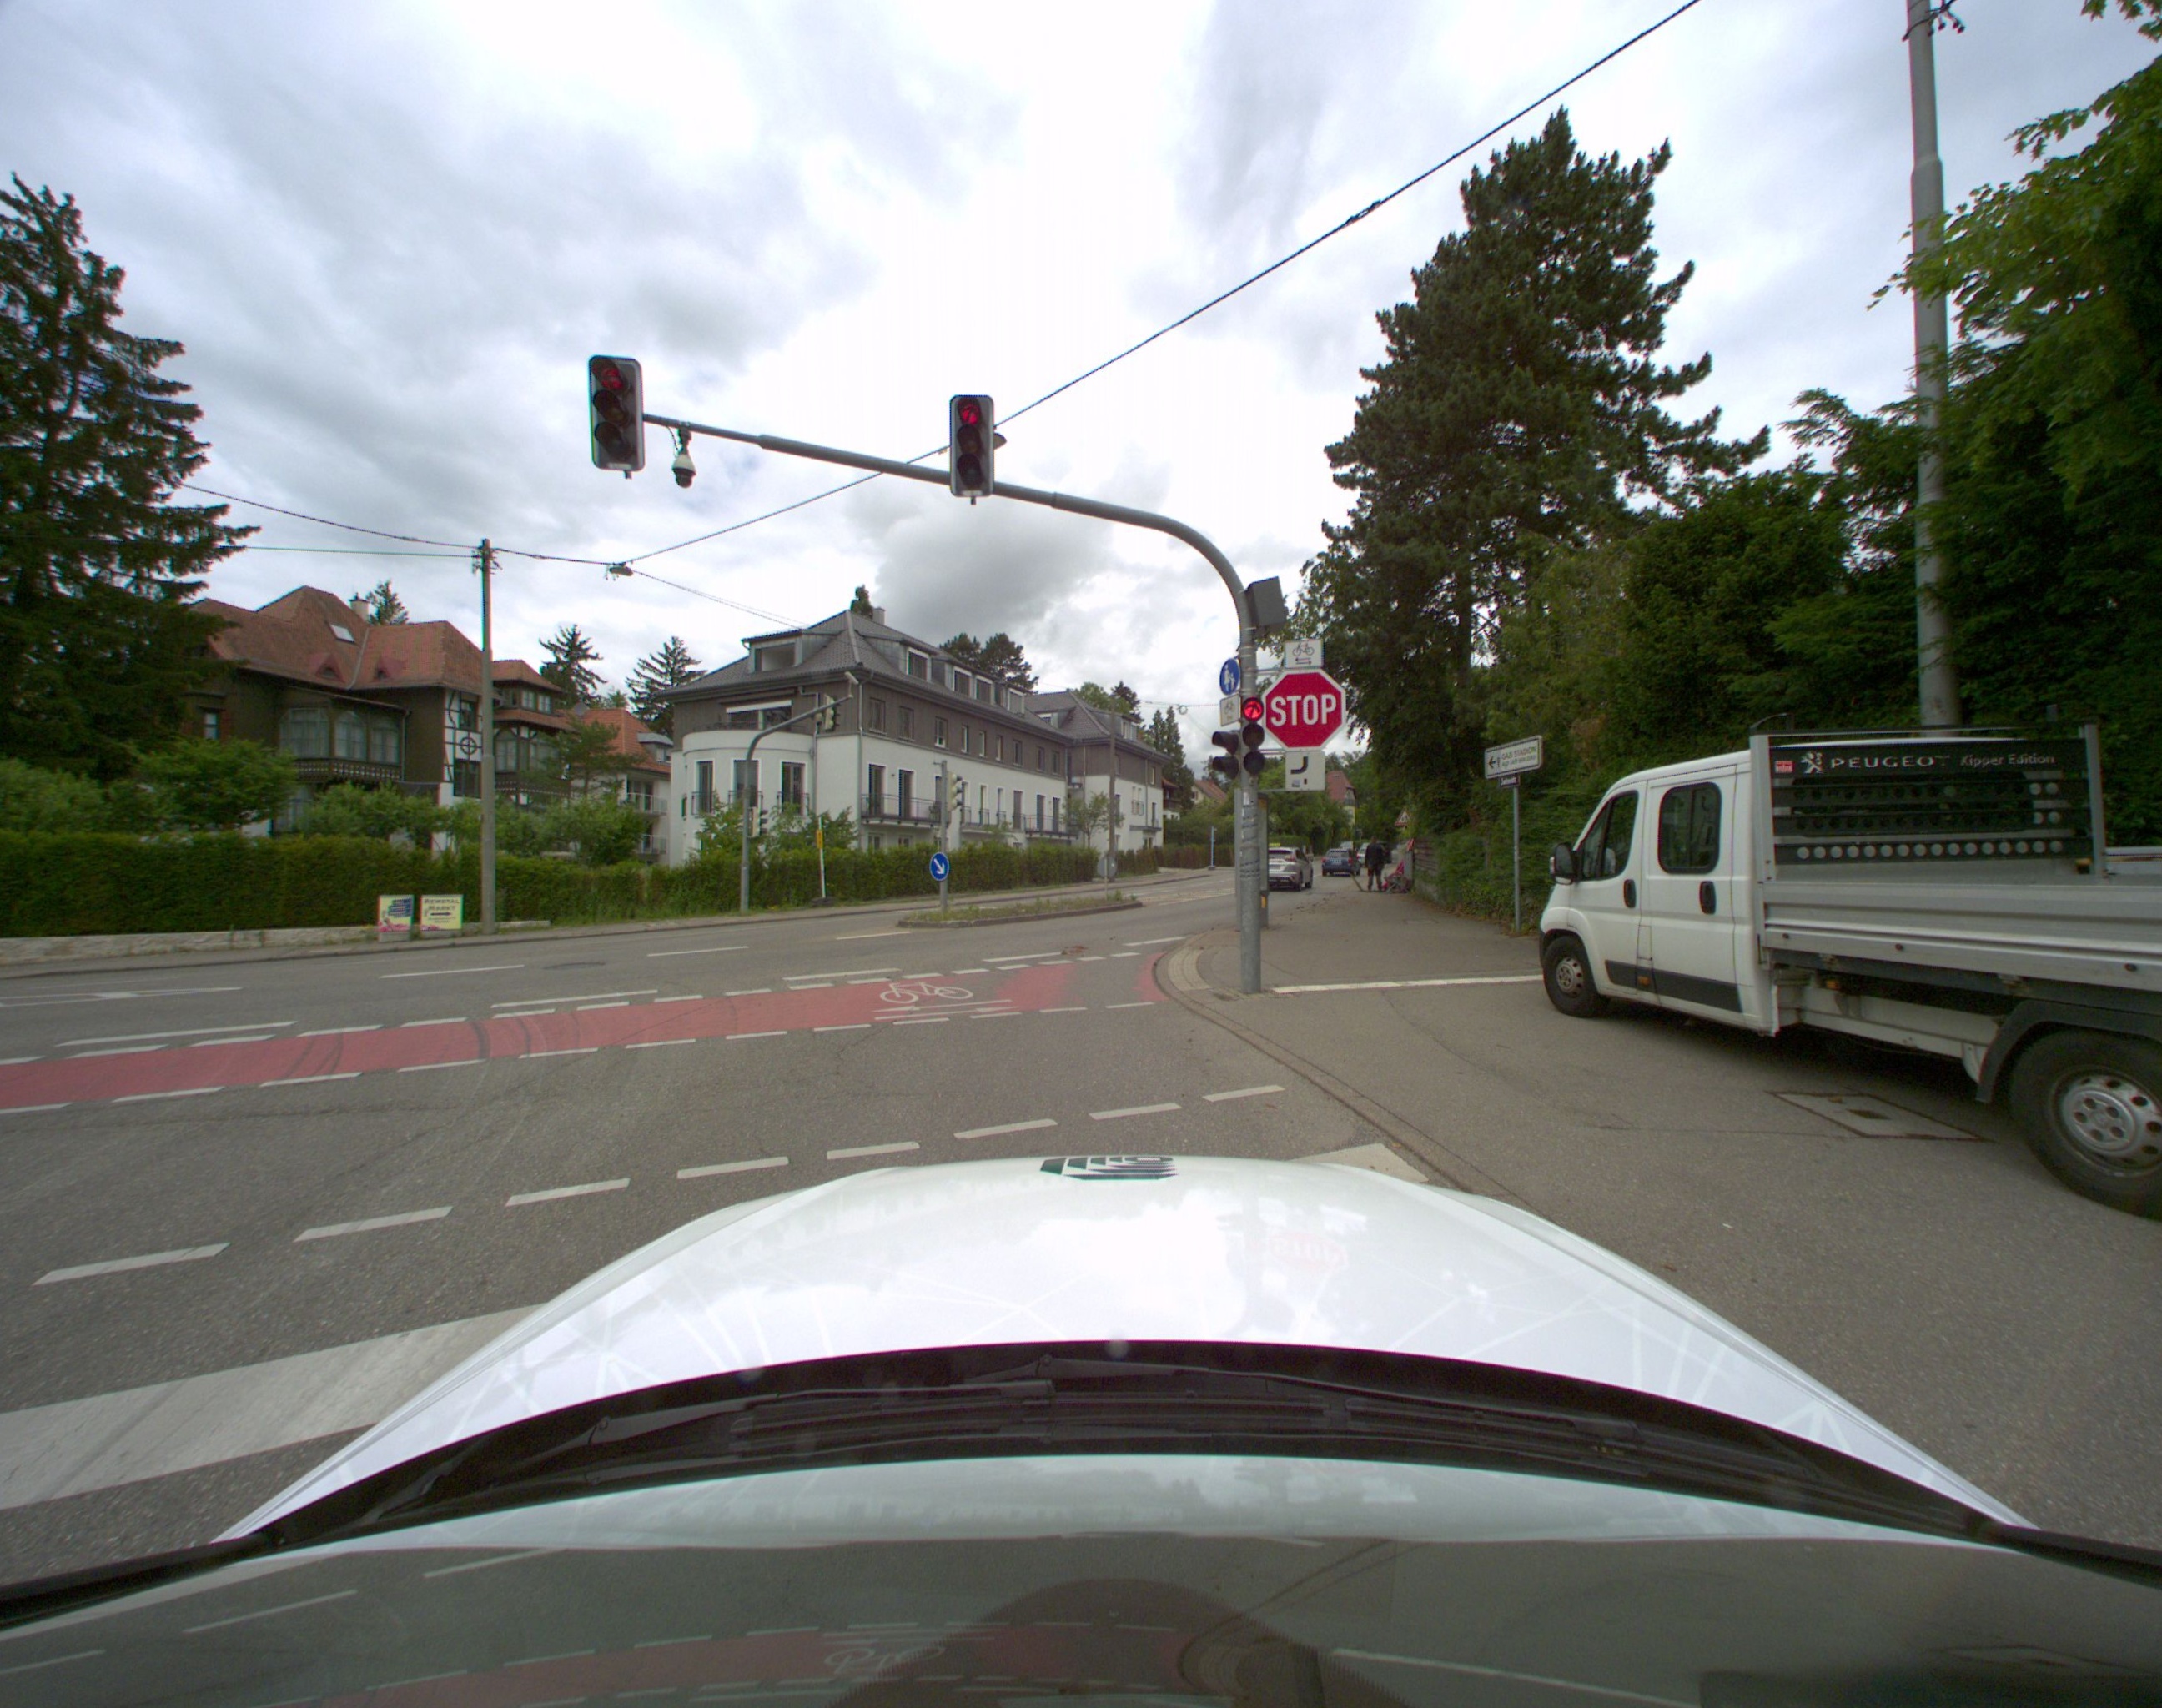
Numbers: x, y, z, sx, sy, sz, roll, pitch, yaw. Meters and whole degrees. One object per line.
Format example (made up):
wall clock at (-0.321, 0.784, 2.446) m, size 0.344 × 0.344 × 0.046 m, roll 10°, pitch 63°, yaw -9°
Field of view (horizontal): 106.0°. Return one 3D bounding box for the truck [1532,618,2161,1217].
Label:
truck at (5.271, 0.236, 4.952) m, size 2.198 × 2.243 × 5.729 m, roll 0°, pitch 0°, yaw 4°

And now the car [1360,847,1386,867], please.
car at (21.703, 0.196, 60.464) m, size 1.679 × 1.430 × 3.768 m, roll -2°, pitch 0°, yaw 21°

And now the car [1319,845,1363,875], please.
car at (14.555, 0.307, 45.381) m, size 1.783 × 1.527 × 4.770 m, roll -2°, pitch 0°, yaw 24°

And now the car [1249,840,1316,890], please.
car at (7.889, 0.379, 31.534) m, size 1.791 × 1.753 × 4.512 m, roll -2°, pitch 0°, yaw 23°

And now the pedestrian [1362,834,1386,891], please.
pedestrian at (9.828, 0.282, 27.320) m, size 0.594 × 1.907 × 0.559 m, roll 0°, pitch -1°, yaw 2°

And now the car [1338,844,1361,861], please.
car at (30.477, -0.146, 92.396) m, size 1.895 × 1.881 × 5.170 m, roll -2°, pitch -1°, yaw 24°

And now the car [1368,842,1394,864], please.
car at (26.770, -0.102, 72.694) m, size 1.902 × 1.894 × 4.935 m, roll 1°, pitch 1°, yaw 23°
